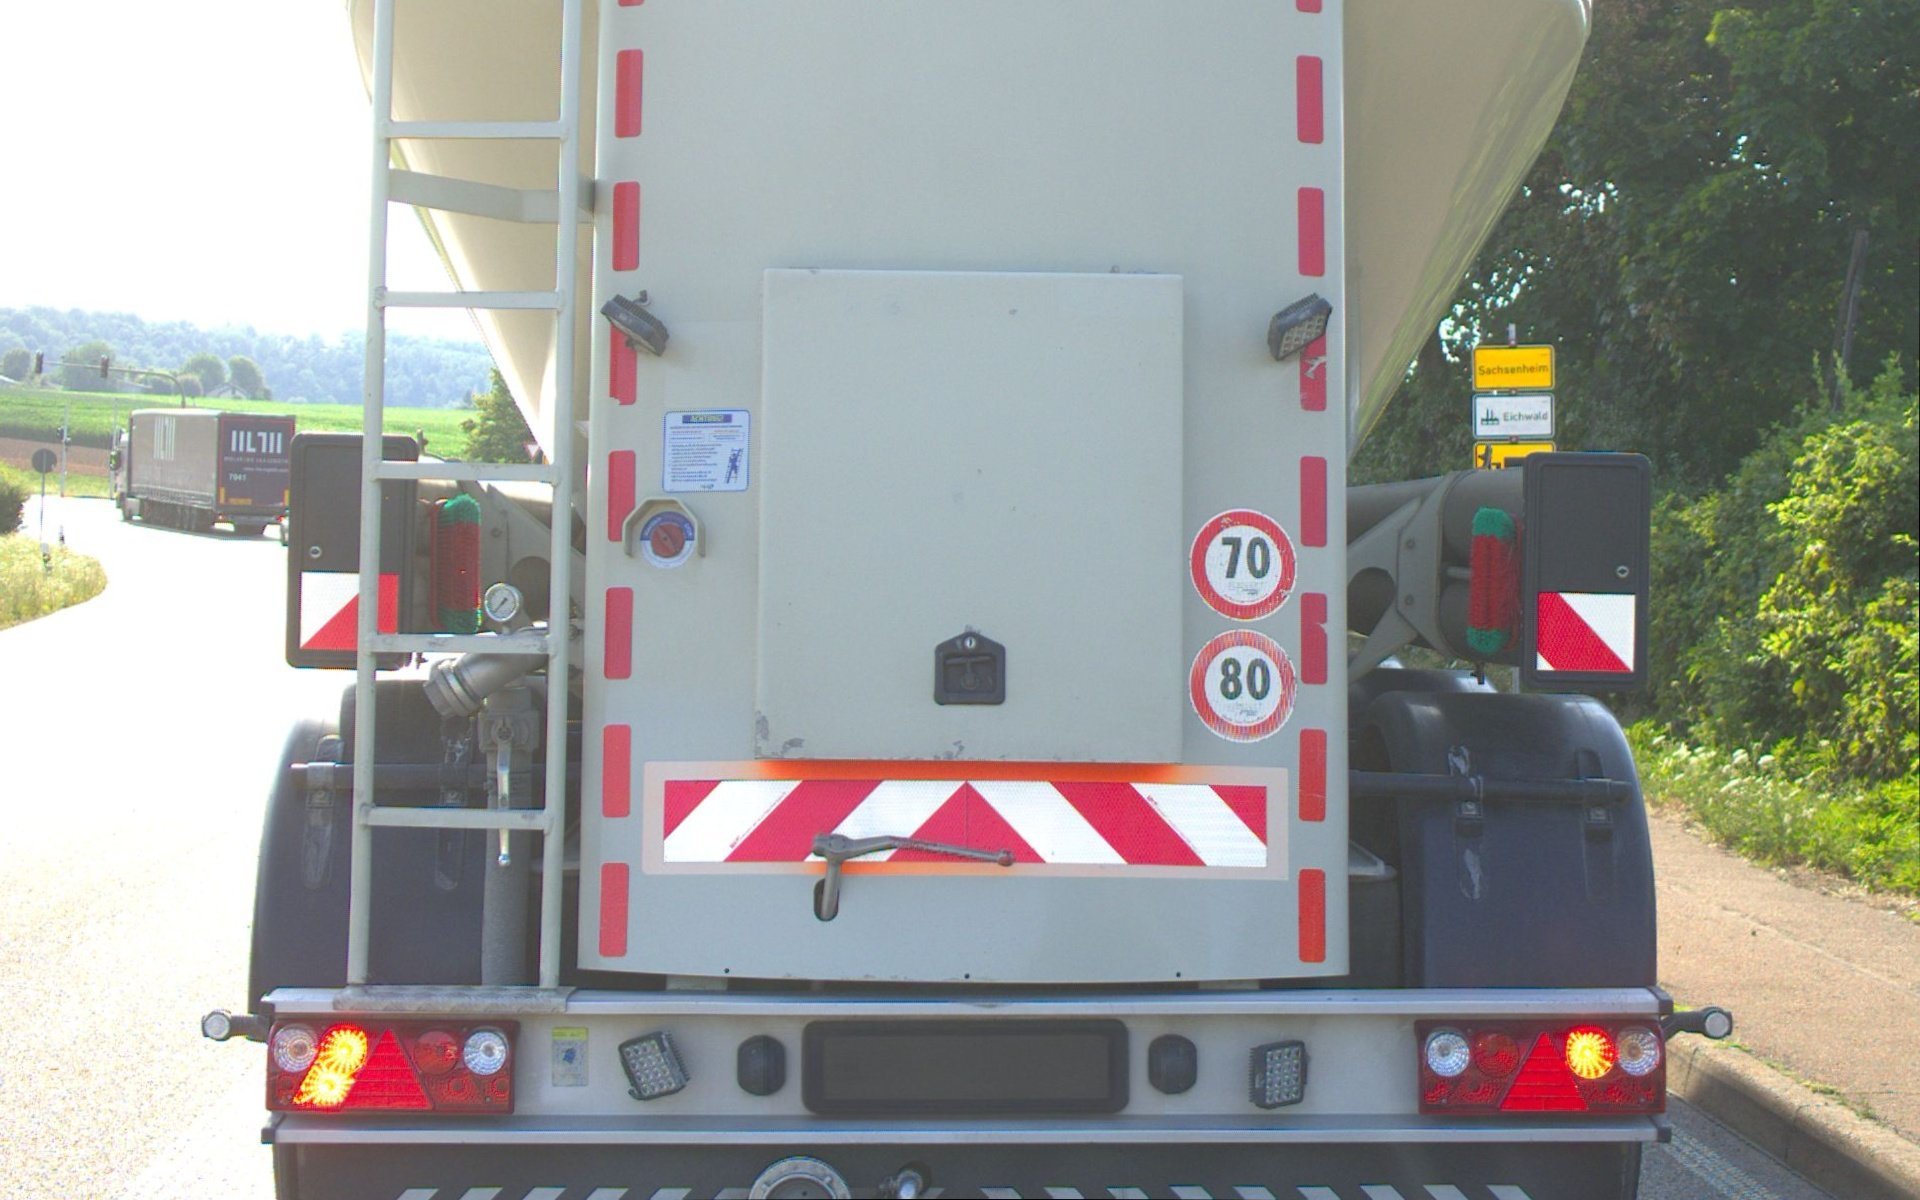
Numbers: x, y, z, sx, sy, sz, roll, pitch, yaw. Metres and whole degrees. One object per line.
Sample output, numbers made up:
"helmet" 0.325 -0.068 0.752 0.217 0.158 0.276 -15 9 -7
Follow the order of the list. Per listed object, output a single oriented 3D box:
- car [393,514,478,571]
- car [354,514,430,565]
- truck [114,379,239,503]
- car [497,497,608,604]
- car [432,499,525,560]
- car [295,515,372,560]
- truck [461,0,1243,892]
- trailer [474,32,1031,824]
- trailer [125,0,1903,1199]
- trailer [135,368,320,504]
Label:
"car" -13.393 -1.479 87.686 1.580 1.336 3.427 2 1 -18
"car" -15.856 -1.701 95.855 1.580 1.336 3.427 2 1 -18
"truck" -29.031 -5.849 127.261 3.375 4.335 5.707 2 1 -24
"car" -7.994 -0.982 67.178 1.861 2.007 3.720 1 1 -11
"car" -11.431 -1.683 81.513 1.580 1.336 3.427 2 1 -18
"car" -18.609 -1.866 102.070 1.769 1.201 3.427 2 1 -18
"truck" -0.548 -0.939 14.964 2.909 3.992 4.060 1 1 -4
"trailer" -1.211 -1.098 26.210 2.955 4.300 14.176 2 1 0
"trailer" -0.221 -0.843 10.599 2.909 3.992 9.932 1 1 -4
"trailer" -25.615 -5.616 119.466 3.375 4.335 14.298 2 1 -24
